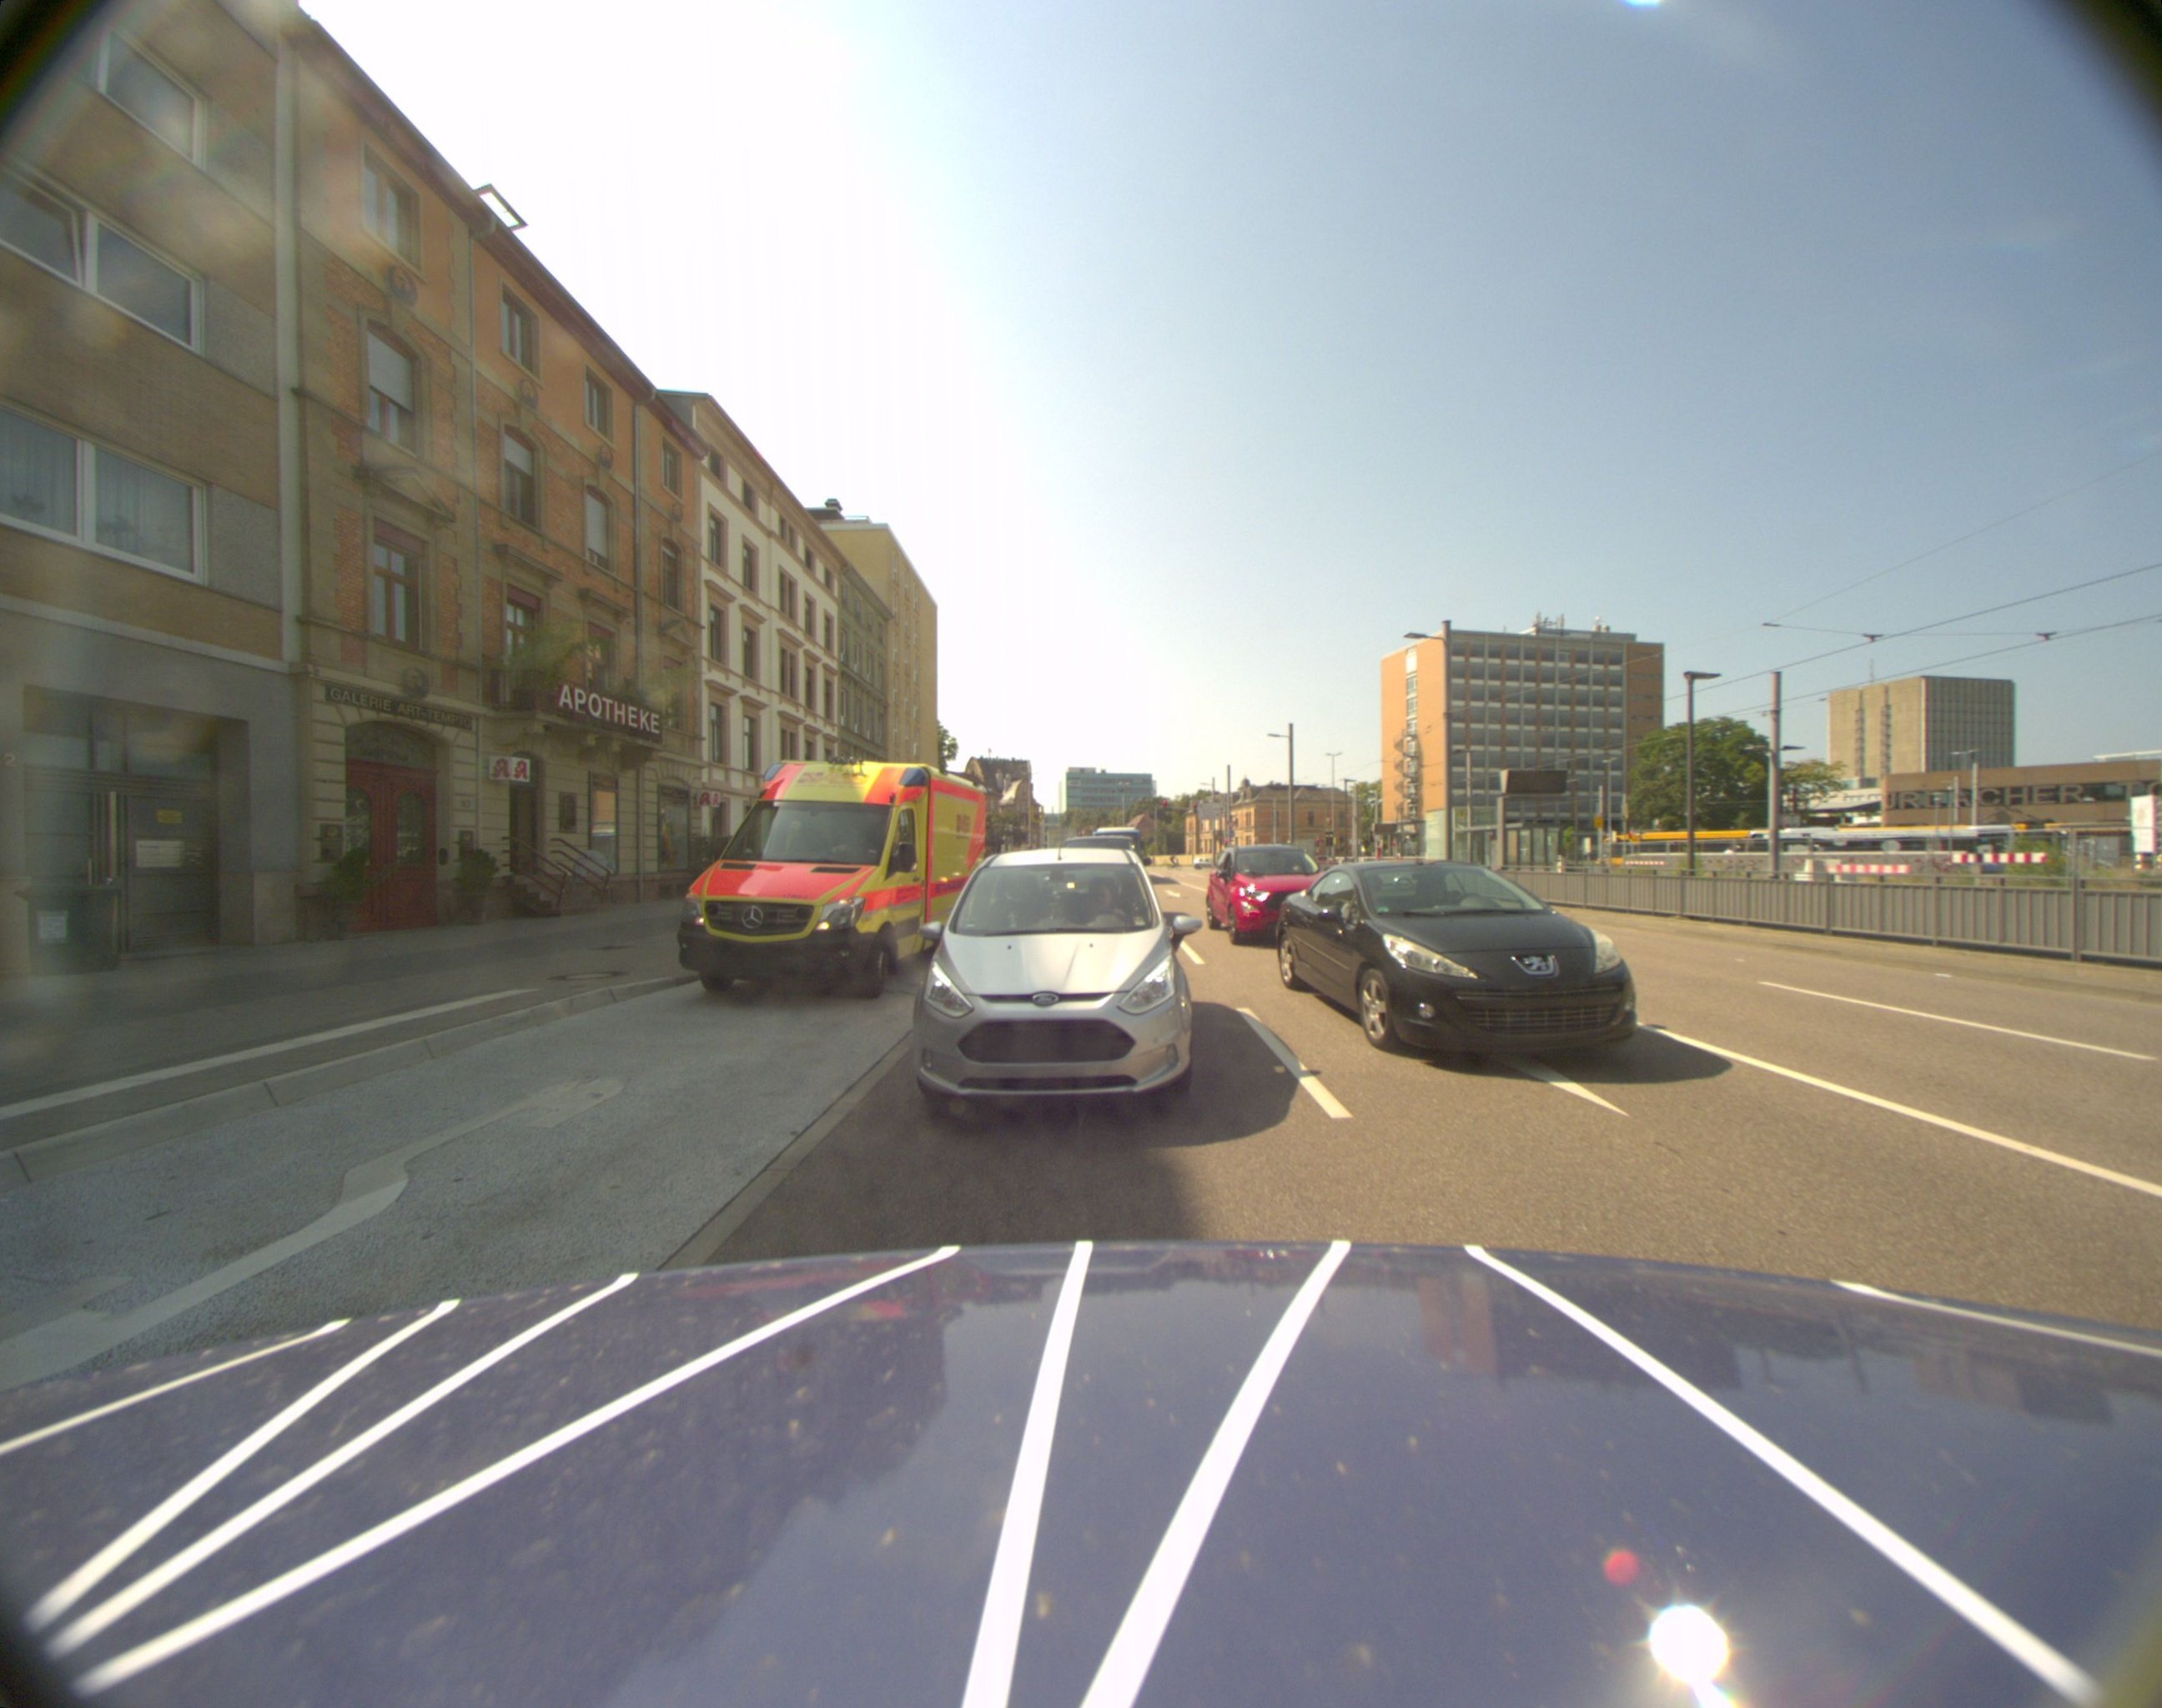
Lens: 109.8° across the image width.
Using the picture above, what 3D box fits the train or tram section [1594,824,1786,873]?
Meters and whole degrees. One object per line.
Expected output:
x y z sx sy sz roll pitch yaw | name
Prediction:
50.417 -0.410 63.460 2.004 3.743 12.331 -1 0 -45 | train or tram section

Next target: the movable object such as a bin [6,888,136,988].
-11.971 0.968 9.035 0.648 1.098 0.727 1 0 -24 | movable object such as a bin

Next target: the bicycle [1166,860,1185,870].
11.146 1.284 89.709 2.182 1.095 0.664 -2 1 21 | bicycle

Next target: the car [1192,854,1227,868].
15.647 0.855 92.436 3.872 1.575 1.691 -2 0 23 | car

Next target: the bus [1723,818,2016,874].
52.349 -0.424 51.335 3.357 3.275 13.371 -3 0 -45 | bus

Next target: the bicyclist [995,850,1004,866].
-8.187 0.366 76.062 0.721 1.577 1.103 -1 0 2 | bicyclist

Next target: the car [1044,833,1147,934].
0.339 0.575 17.516 1.998 1.953 4.816 -1 0 1 | car

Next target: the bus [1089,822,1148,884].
2.348 -0.077 45.405 2.919 3.119 12.347 -2 0 4 | bus

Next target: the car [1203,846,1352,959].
3.187 0.701 13.097 1.634 1.611 3.968 -2 0 2 | car

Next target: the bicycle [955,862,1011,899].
-3.386 0.924 26.231 1.841 1.212 0.434 -2 1 1 | bicycle

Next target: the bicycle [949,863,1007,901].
-3.426 0.926 25.334 1.841 1.196 0.434 -2 1 1 | bicycle

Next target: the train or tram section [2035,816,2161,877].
67.804 -0.460 46.007 2.004 3.743 12.331 -1 0 -45 | train or tram section

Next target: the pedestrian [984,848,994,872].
-6.385 0.400 52.724 0.645 1.619 0.796 1 1 -1 | pedestrian

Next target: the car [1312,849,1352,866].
28.960 0.397 87.798 4.279 1.722 1.885 -2 0 15 | car

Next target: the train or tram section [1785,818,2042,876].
59.136 -0.450 54.709 2.004 3.743 12.331 -1 0 -45 | train or tram section

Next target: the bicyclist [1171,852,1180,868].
11.127 0.678 89.706 0.857 1.891 0.664 -2 1 21 | bicyclist

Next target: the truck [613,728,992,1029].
-3.008 0.200 10.278 2.333 2.754 6.340 2 1 4 | truck

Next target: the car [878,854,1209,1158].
-0.152 0.816 6.040 1.728 1.579 4.000 -1 0 1 | car

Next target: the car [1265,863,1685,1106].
2.910 0.837 6.620 1.692 1.405 3.801 -2 0 1 | car
